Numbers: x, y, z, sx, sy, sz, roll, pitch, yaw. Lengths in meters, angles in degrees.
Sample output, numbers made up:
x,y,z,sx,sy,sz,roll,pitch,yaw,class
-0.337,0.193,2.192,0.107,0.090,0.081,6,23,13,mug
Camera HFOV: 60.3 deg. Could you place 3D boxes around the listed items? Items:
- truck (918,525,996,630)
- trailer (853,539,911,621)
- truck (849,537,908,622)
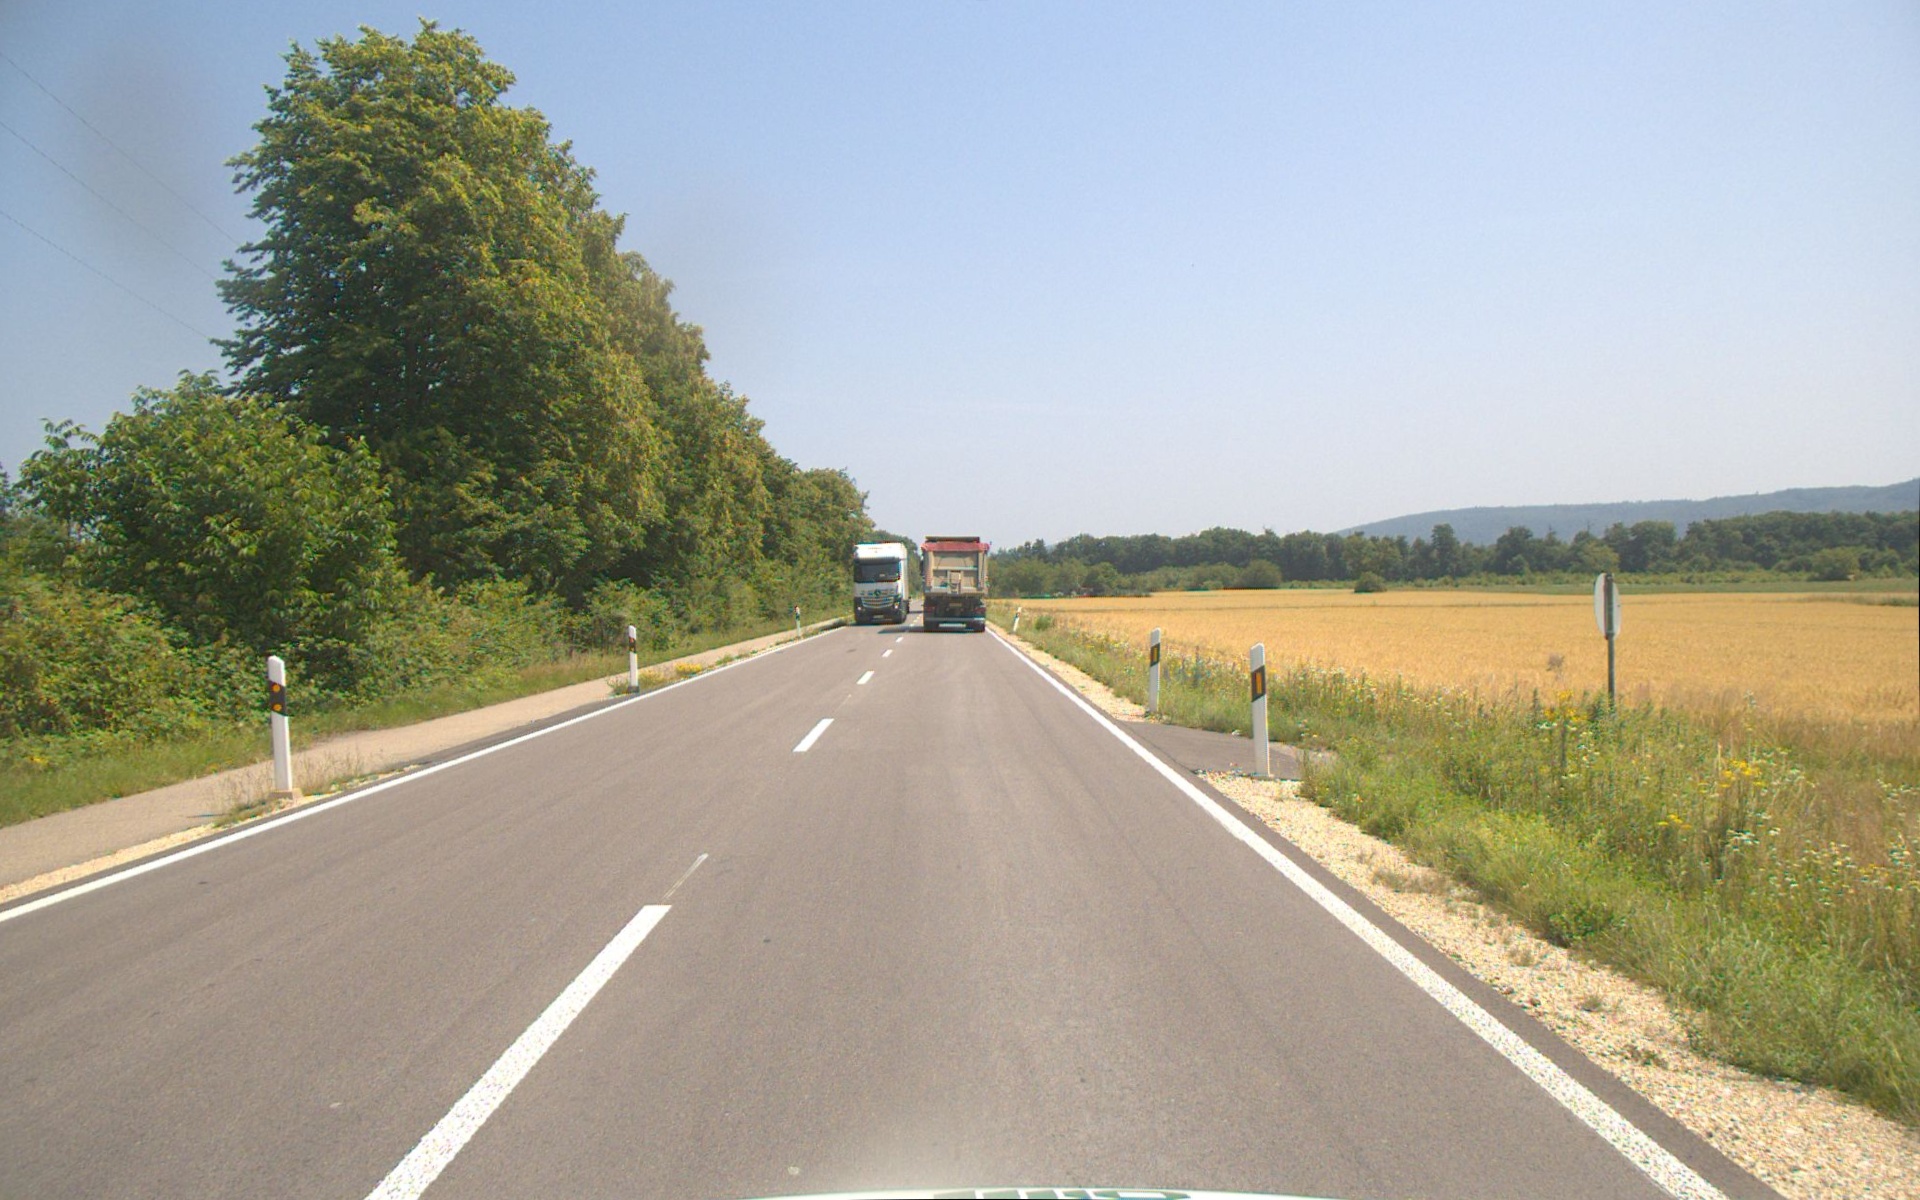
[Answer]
x,y,z,sx,sy,sz,roll,pitch,yaw,class
-0.180,-0.834,69.138,2.948,3.942,12.207,1,0,-1,truck
-4.143,-1.051,90.309,2.599,4.046,13.352,-2,0,-1,trailer
-4.067,-1.034,83.716,2.602,4.046,5.726,-2,0,-1,truck
